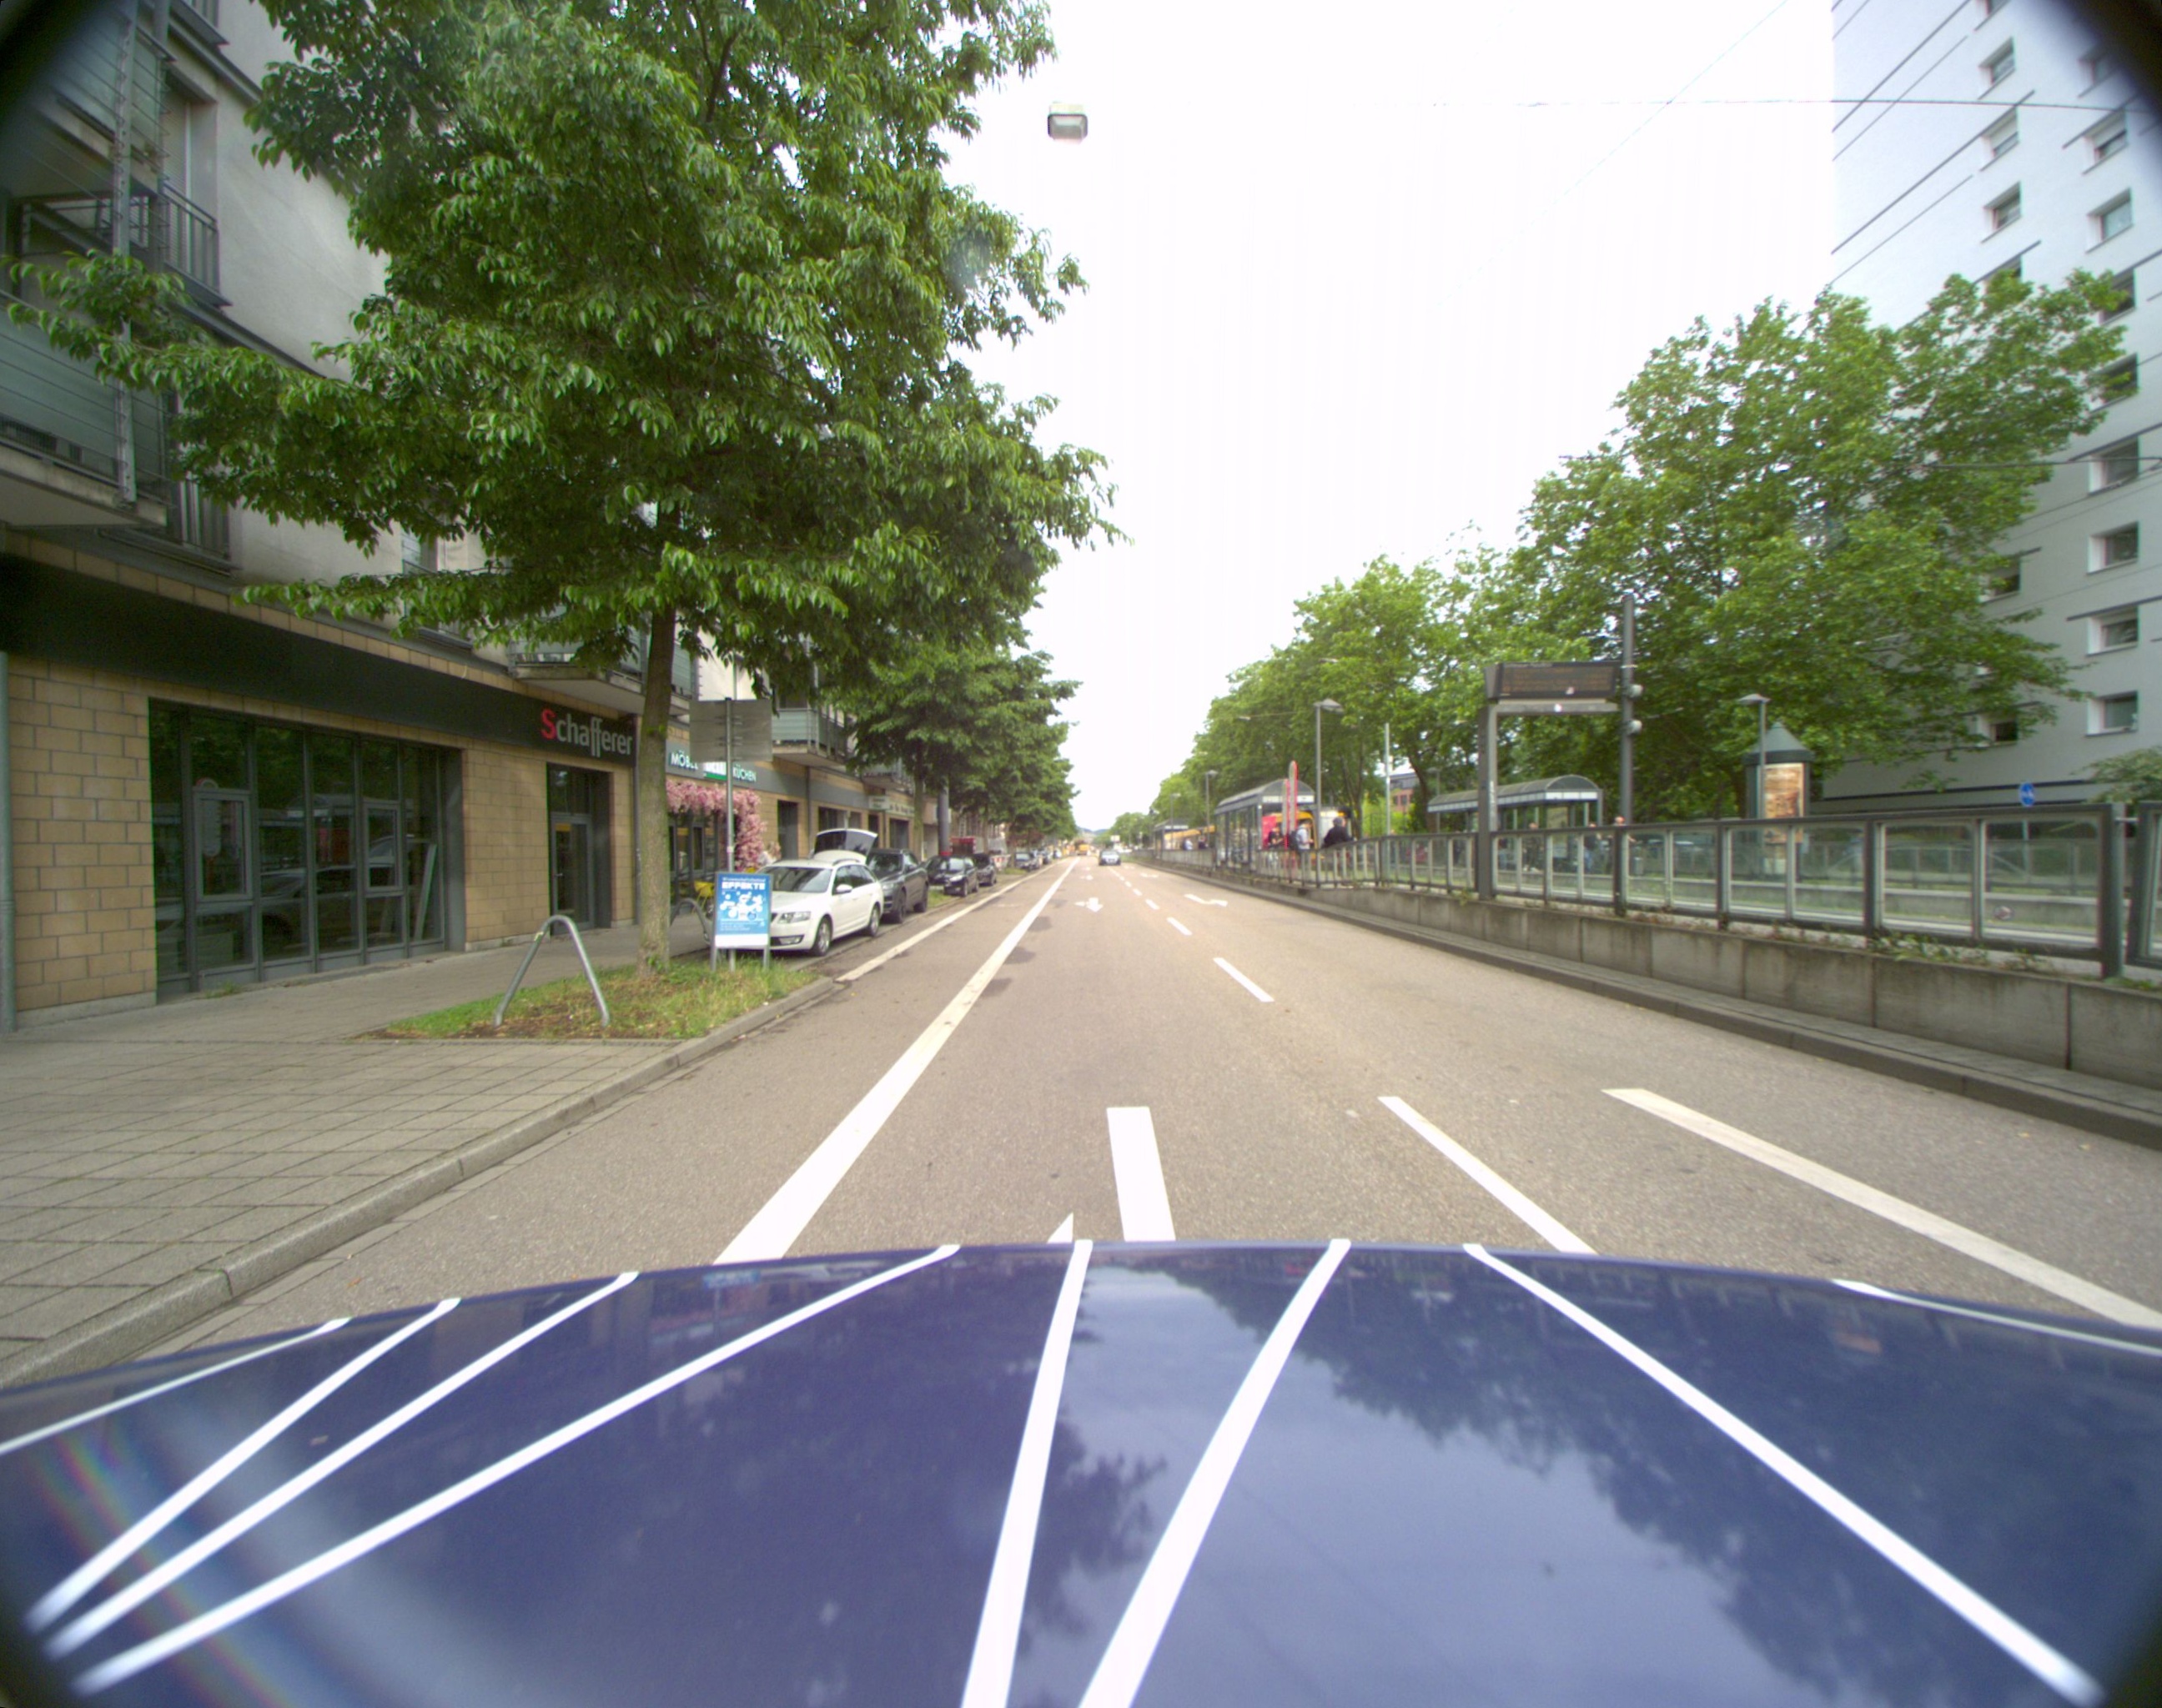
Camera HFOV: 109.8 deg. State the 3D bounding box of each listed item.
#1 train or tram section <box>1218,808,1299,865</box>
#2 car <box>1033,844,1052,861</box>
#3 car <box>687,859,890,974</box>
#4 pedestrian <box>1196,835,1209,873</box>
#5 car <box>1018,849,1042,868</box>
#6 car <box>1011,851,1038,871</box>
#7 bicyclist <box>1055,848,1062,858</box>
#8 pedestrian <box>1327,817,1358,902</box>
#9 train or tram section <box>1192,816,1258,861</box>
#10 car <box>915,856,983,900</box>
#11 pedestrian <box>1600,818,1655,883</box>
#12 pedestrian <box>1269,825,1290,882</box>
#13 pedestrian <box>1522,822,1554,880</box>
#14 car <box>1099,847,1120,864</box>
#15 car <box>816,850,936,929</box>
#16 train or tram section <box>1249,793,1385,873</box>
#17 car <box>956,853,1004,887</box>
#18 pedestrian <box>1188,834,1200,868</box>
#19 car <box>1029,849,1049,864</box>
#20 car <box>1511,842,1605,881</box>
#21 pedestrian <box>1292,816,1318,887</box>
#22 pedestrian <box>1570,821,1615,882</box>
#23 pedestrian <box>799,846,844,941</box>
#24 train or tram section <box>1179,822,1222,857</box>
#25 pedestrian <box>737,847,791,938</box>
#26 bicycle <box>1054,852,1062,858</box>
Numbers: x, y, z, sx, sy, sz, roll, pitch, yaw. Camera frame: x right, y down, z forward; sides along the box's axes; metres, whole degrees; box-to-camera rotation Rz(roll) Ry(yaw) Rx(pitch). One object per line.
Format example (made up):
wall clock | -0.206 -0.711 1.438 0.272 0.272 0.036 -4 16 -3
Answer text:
train or tram section | 13.308 -1.270 58.373 3.338 3.731 12.547 -2 1 1
car | -3.964 -0.142 78.221 1.612 1.674 3.806 2 1 1
car | -4.719 0.903 13.001 1.738 1.512 4.308 2 1 1
pedestrian | 5.847 0.000 36.523 0.530 1.794 0.606 -2 1 14
car | -4.124 0.364 62.165 1.612 1.393 3.667 2 1 1
car | -4.164 0.479 56.276 1.612 1.393 3.667 2 1 1
bicyclist | -3.347 -0.161 110.921 0.727 1.458 0.811 -2 1 -27
pedestrian | 5.706 0.120 16.580 0.521 1.794 0.605 -2 1 13
train or tram section | 13.468 -1.438 72.755 3.338 3.731 16.247 -2 1 1
car | -4.637 0.795 27.276 1.612 1.370 4.167 2 1 1
pedestrian | 15.321 -0.099 21.324 0.882 1.746 0.850 -2 1 1
pedestrian | 6.313 -0.027 24.199 0.474 1.794 0.606 -2 1 26
pedestrian | 15.462 -0.100 25.737 0.699 1.919 0.554 -2 1 1
car | 2.582 0.104 69.914 1.716 1.379 4.099 -2 1 1
car | -4.715 0.743 18.004 1.738 1.601 3.798 2 1 1
train or tram section | 13.138 -1.107 44.483 3.338 3.731 15.201 -2 1 1
car | -4.556 0.685 34.737 1.612 1.393 3.667 2 1 1
pedestrian | 6.140 -0.178 41.340 0.530 1.794 0.606 -2 1 14
car | -3.970 0.209 72.451 1.612 1.393 3.667 2 1 1
car | 18.669 0.275 29.875 1.582 1.420 3.219 -1 1 -2
pedestrian | 5.754 -0.064 19.548 0.475 1.794 0.605 -2 1 5
pedestrian | 15.711 -0.087 23.349 0.882 1.823 0.666 -2 1 1
pedestrian | -5.258 0.783 15.440 0.656 1.873 0.599 -1 1 1
train or tram section | 13.663 -1.616 87.860 3.338 3.731 11.042 -2 1 1
pedestrian | -6.108 0.712 14.659 0.736 1.707 0.619 1 1 23
bicycle | -3.405 0.166 111.099 0.492 0.925 1.778 -3 1 -27
